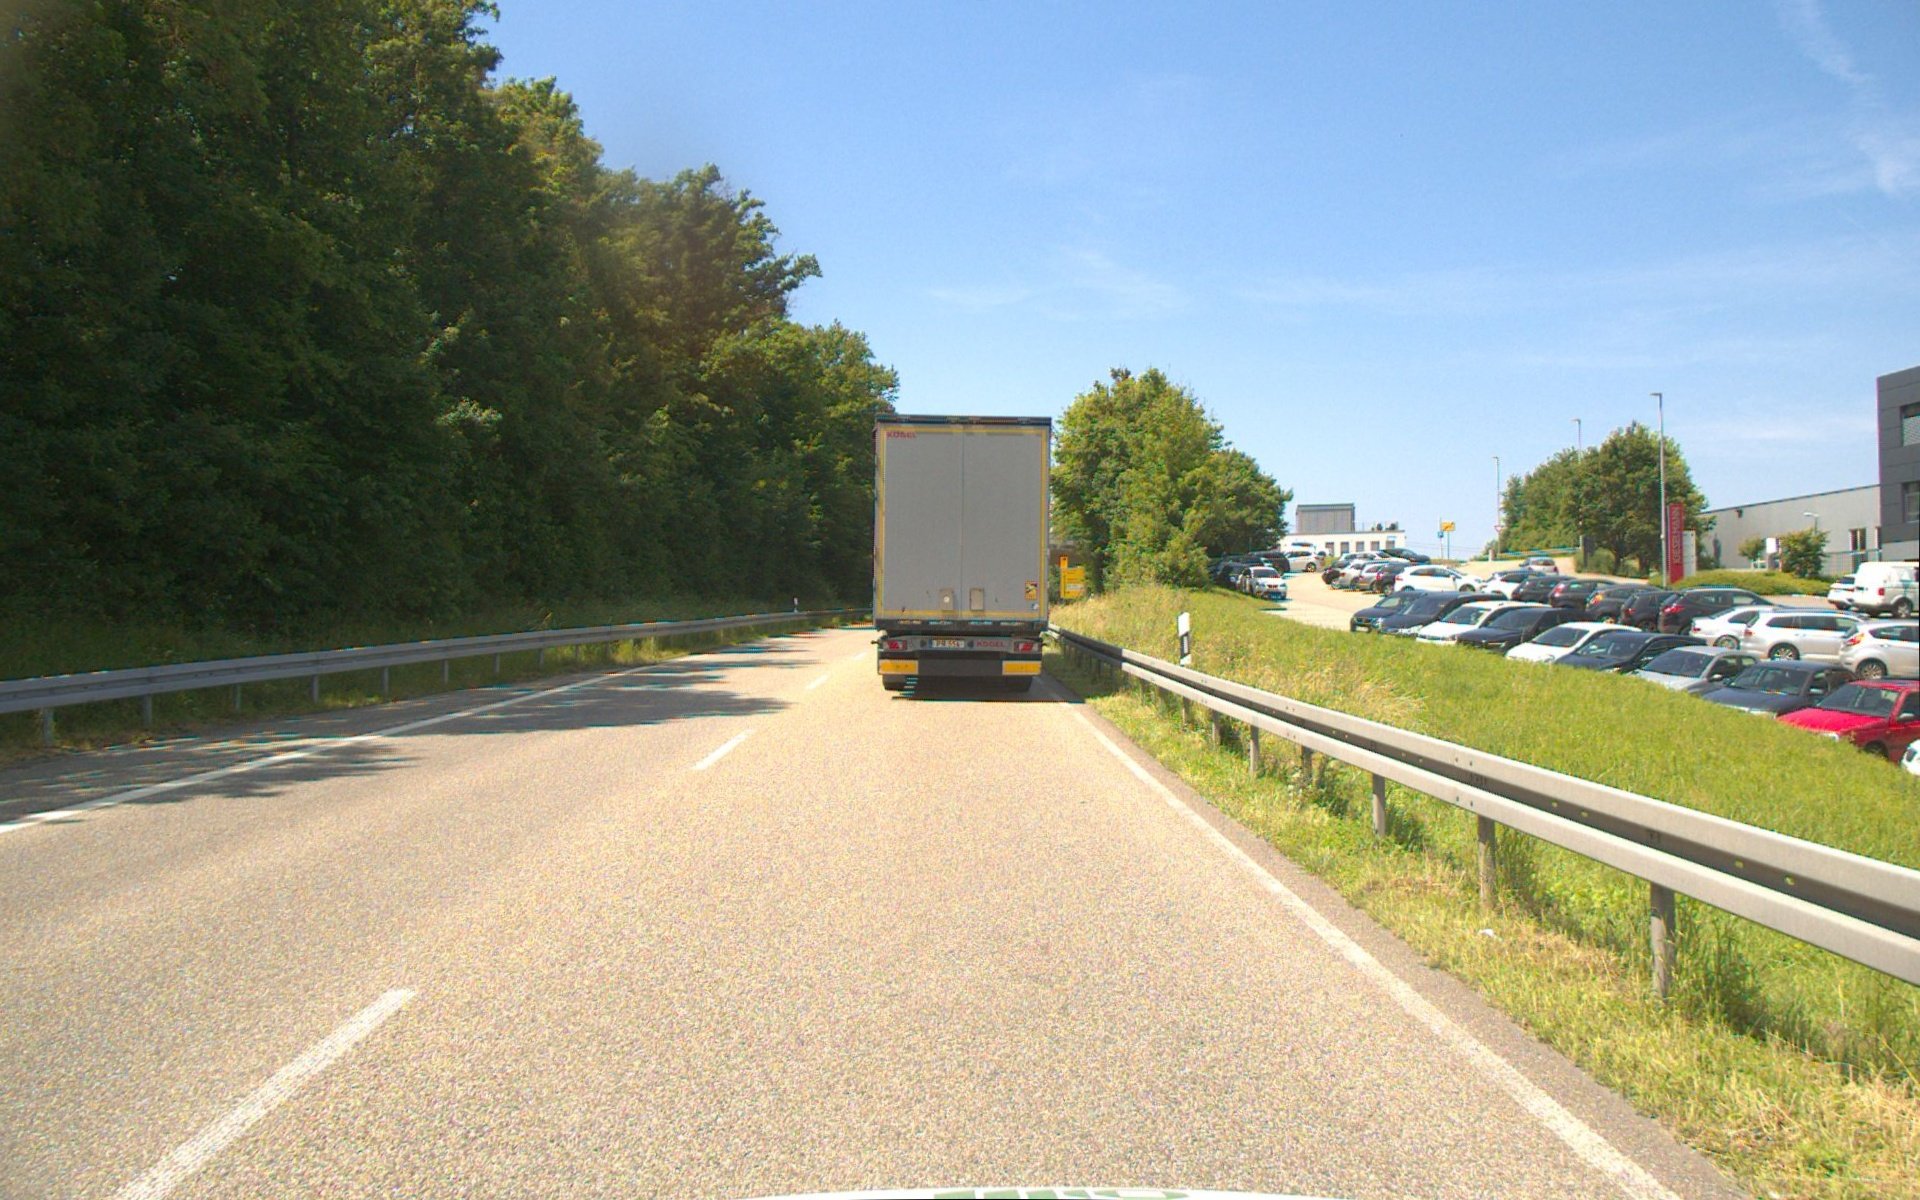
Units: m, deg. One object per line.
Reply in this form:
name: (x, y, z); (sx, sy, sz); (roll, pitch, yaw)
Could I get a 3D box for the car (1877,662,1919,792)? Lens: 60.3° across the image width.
car: (15.643, 2.006, 23.347); (4.356, 1.714, 1.888); (6, 2, 20)

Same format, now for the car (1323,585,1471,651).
car: (13.648, 0.577, 51.589); (4.316, 1.714, 1.870); (3, 3, -30)

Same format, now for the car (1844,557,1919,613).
car: (35.063, -0.577, 60.527); (4.478, 1.983, 1.821); (0, 2, -1)

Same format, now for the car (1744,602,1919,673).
car: (22.883, 0.948, 42.929); (4.486, 1.546, 1.818); (1, 5, 29)

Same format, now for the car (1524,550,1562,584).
car: (30.789, -1.724, 87.324); (1.769, 1.691, 4.000); (2, 0, 21)

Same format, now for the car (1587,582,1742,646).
car: (23.164, 0.439, 54.409); (4.484, 1.656, 1.819); (6, 3, 25)

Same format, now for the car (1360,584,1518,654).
car: (14.025, 0.562, 48.395); (4.316, 1.714, 1.870); (3, 3, -30)

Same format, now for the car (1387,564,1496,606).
car: (21.343, -0.679, 73.289); (4.477, 1.657, 1.821); (3, 2, 20)

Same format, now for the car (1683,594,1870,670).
car: (22.751, 0.852, 46.259); (4.484, 1.656, 1.819); (6, 3, 25)

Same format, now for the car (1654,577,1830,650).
car: (22.944, 0.364, 48.627); (4.484, 1.656, 1.819); (6, 3, 25)

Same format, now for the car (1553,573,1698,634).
car: (23.061, 0.111, 57.331); (4.484, 1.656, 1.819); (6, 3, 25)

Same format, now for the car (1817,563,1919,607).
car: (35.380, -0.585, 63.991); (3.587, 1.615, 1.684); (0, 2, -1)

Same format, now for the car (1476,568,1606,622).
car: (22.436, -0.217, 63.874); (4.484, 1.656, 1.819); (6, 3, 25)

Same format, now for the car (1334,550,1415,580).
car: (25.624, -2.172, 102.307); (4.491, 1.657, 1.815); (2, 0, 33)

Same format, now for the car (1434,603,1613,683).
car: (14.485, 1.119, 42.470); (4.316, 1.714, 1.870); (3, 3, -30)

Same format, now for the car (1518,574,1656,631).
car: (22.936, 0.068, 60.541); (4.484, 1.656, 1.819); (6, 3, 25)

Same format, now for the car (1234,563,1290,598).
car: (14.142, -0.913, 77.528); (1.593, 1.376, 3.708); (4, 2, -5)

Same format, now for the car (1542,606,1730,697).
car: (14.901, 1.157, 36.361); (4.333, 1.714, 1.863); (3, 3, -39)

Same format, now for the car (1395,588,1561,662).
car: (14.367, 0.704, 45.811); (4.316, 1.714, 1.870); (3, 3, -30)

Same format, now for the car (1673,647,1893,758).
car: (15.149, 1.860, 30.380); (4.333, 1.714, 1.863); (3, 3, -39)

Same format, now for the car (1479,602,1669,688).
car: (14.752, 1.080, 39.676); (4.316, 1.714, 1.870); (3, 3, -30)

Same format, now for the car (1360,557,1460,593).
car: (21.492, -1.190, 79.051); (4.477, 1.657, 1.821); (1, 1, 20)

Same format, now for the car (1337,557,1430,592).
car: (21.840, -1.328, 85.265); (4.477, 1.657, 1.821); (1, -1, 19)

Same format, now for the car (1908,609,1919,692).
car: (23.700, 1.205, 36.627); (4.480, 1.656, 1.821); (2, 7, 24)

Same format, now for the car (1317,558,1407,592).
car: (21.566, -1.357, 88.670); (4.477, 1.657, 1.821); (2, 0, 20)

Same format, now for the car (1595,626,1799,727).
car: (14.844, 1.535, 33.240); (4.333, 1.714, 1.863); (3, 3, -39)

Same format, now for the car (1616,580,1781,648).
car: (22.969, 0.410, 51.529); (4.484, 1.656, 1.819); (6, 3, 25)

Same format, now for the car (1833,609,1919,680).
car: (23.502, 1.027, 39.575); (4.480, 1.503, 1.821); (-2, 4, 24)

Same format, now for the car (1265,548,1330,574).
car: (23.582, -2.737, 115.533); (4.316, 1.714, 1.870); (-1, 5, -30)

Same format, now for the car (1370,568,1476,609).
car: (21.271, -0.541, 75.984); (4.477, 1.657, 1.821); (3, 2, 20)

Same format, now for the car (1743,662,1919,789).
car: (15.165, 2.066, 26.974); (4.304, 1.714, 1.876); (4, 2, -24)

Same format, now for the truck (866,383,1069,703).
truck: (0.068, -0.821, 27.901); (2.807, 4.435, 9.788); (0, 0, -1)

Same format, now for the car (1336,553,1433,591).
car: (21.126, -1.403, 82.283); (4.477, 1.656, 1.821); (3, 2, 19)
